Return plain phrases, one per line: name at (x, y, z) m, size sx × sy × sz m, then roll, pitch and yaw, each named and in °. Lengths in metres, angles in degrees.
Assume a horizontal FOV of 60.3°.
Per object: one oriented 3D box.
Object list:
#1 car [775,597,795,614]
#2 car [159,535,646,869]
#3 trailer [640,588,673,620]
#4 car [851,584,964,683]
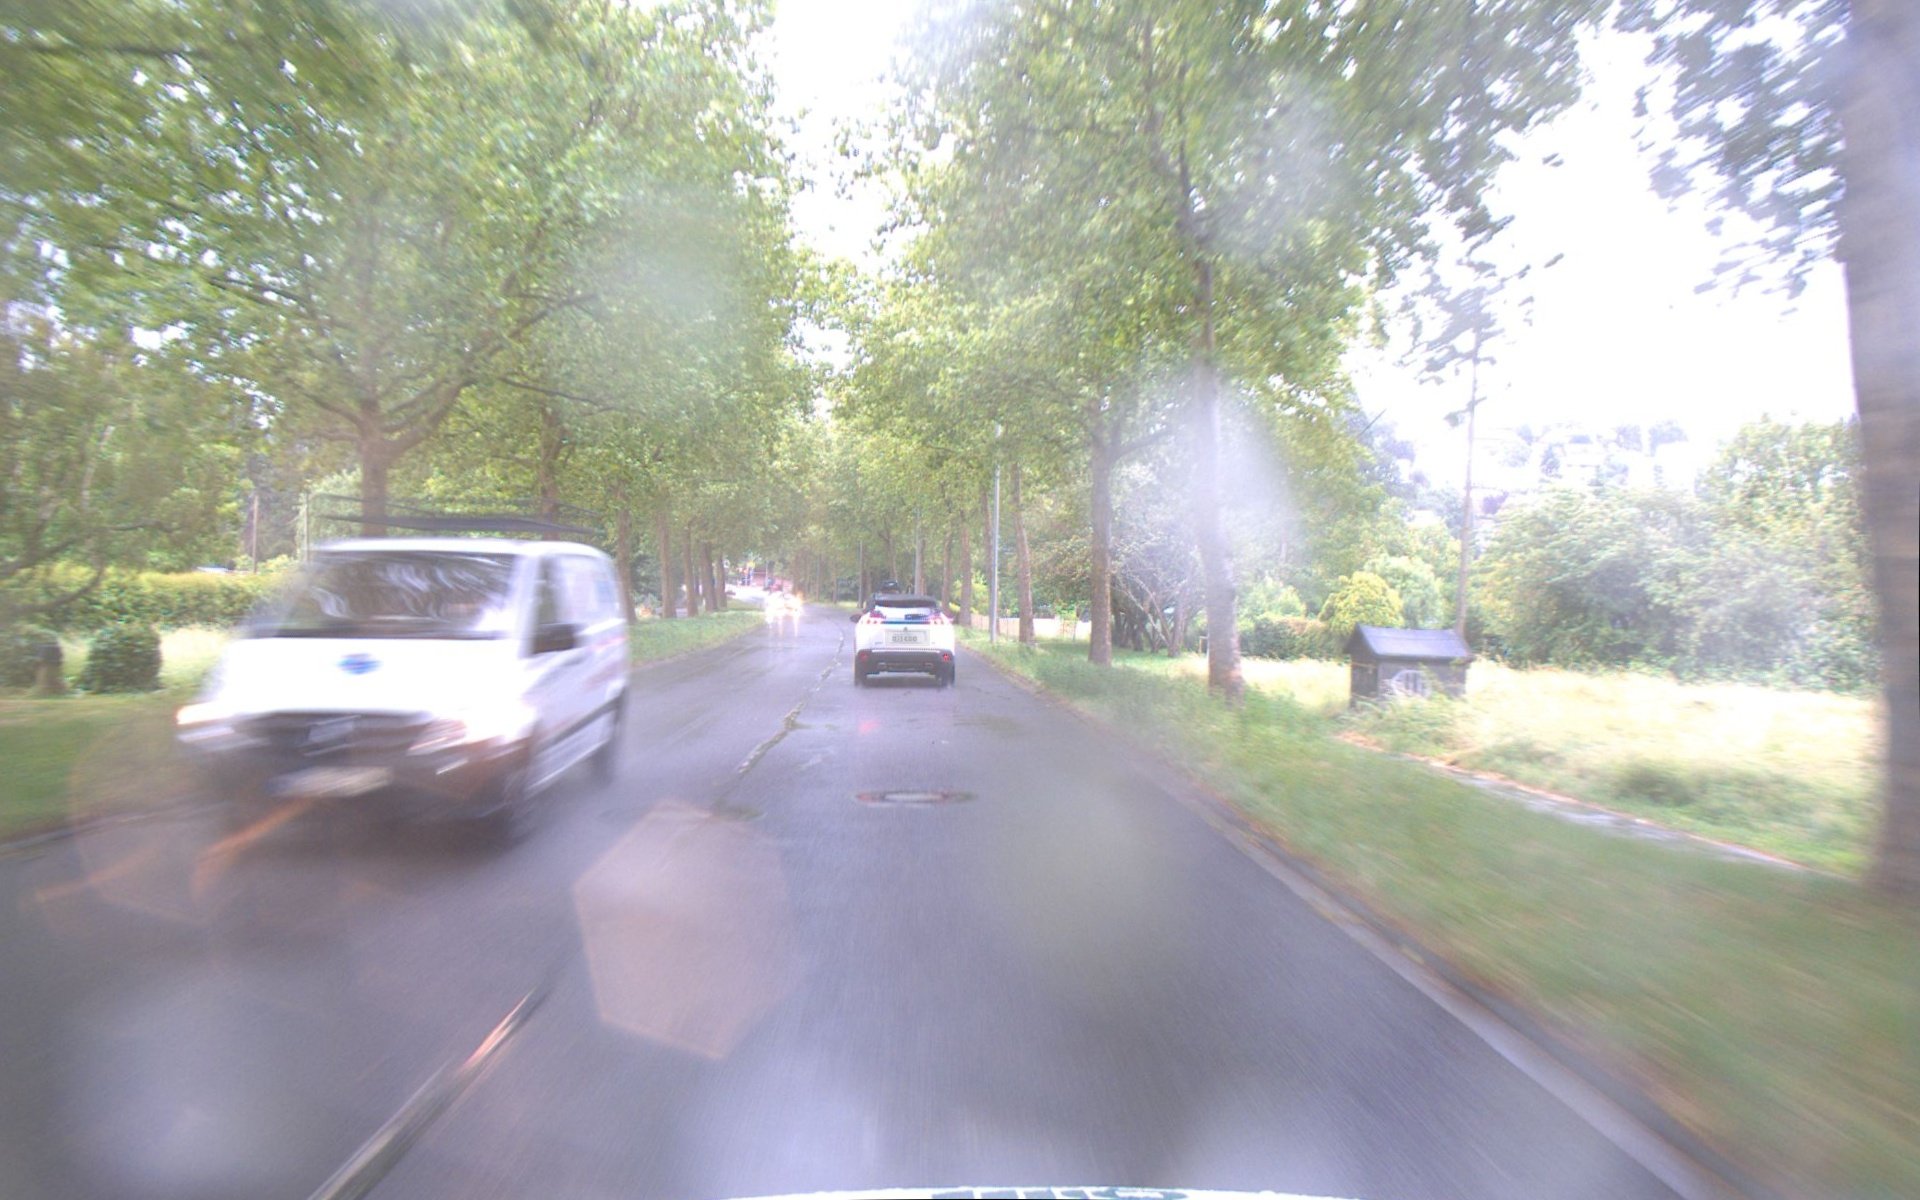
car at (-15.000, 0.450, 141.744) m, size 1.698 × 1.448 × 4.219 m, roll 0°, pitch 0°, yaw -7°
car at (-3.484, 0.536, 11.455) m, size 1.825 × 1.780 × 5.013 m, roll -1°, pitch 0°, yaw -2°
trailer at (-25.672, 0.323, 140.117) m, size 2.438 × 2.612 × 5.323 m, roll 1°, pitch 0°, yaw -8°
car at (-1.002, 0.553, 29.610) m, size 1.759 × 1.606 × 3.840 m, roll 1°, pitch 1°, yaw -5°
